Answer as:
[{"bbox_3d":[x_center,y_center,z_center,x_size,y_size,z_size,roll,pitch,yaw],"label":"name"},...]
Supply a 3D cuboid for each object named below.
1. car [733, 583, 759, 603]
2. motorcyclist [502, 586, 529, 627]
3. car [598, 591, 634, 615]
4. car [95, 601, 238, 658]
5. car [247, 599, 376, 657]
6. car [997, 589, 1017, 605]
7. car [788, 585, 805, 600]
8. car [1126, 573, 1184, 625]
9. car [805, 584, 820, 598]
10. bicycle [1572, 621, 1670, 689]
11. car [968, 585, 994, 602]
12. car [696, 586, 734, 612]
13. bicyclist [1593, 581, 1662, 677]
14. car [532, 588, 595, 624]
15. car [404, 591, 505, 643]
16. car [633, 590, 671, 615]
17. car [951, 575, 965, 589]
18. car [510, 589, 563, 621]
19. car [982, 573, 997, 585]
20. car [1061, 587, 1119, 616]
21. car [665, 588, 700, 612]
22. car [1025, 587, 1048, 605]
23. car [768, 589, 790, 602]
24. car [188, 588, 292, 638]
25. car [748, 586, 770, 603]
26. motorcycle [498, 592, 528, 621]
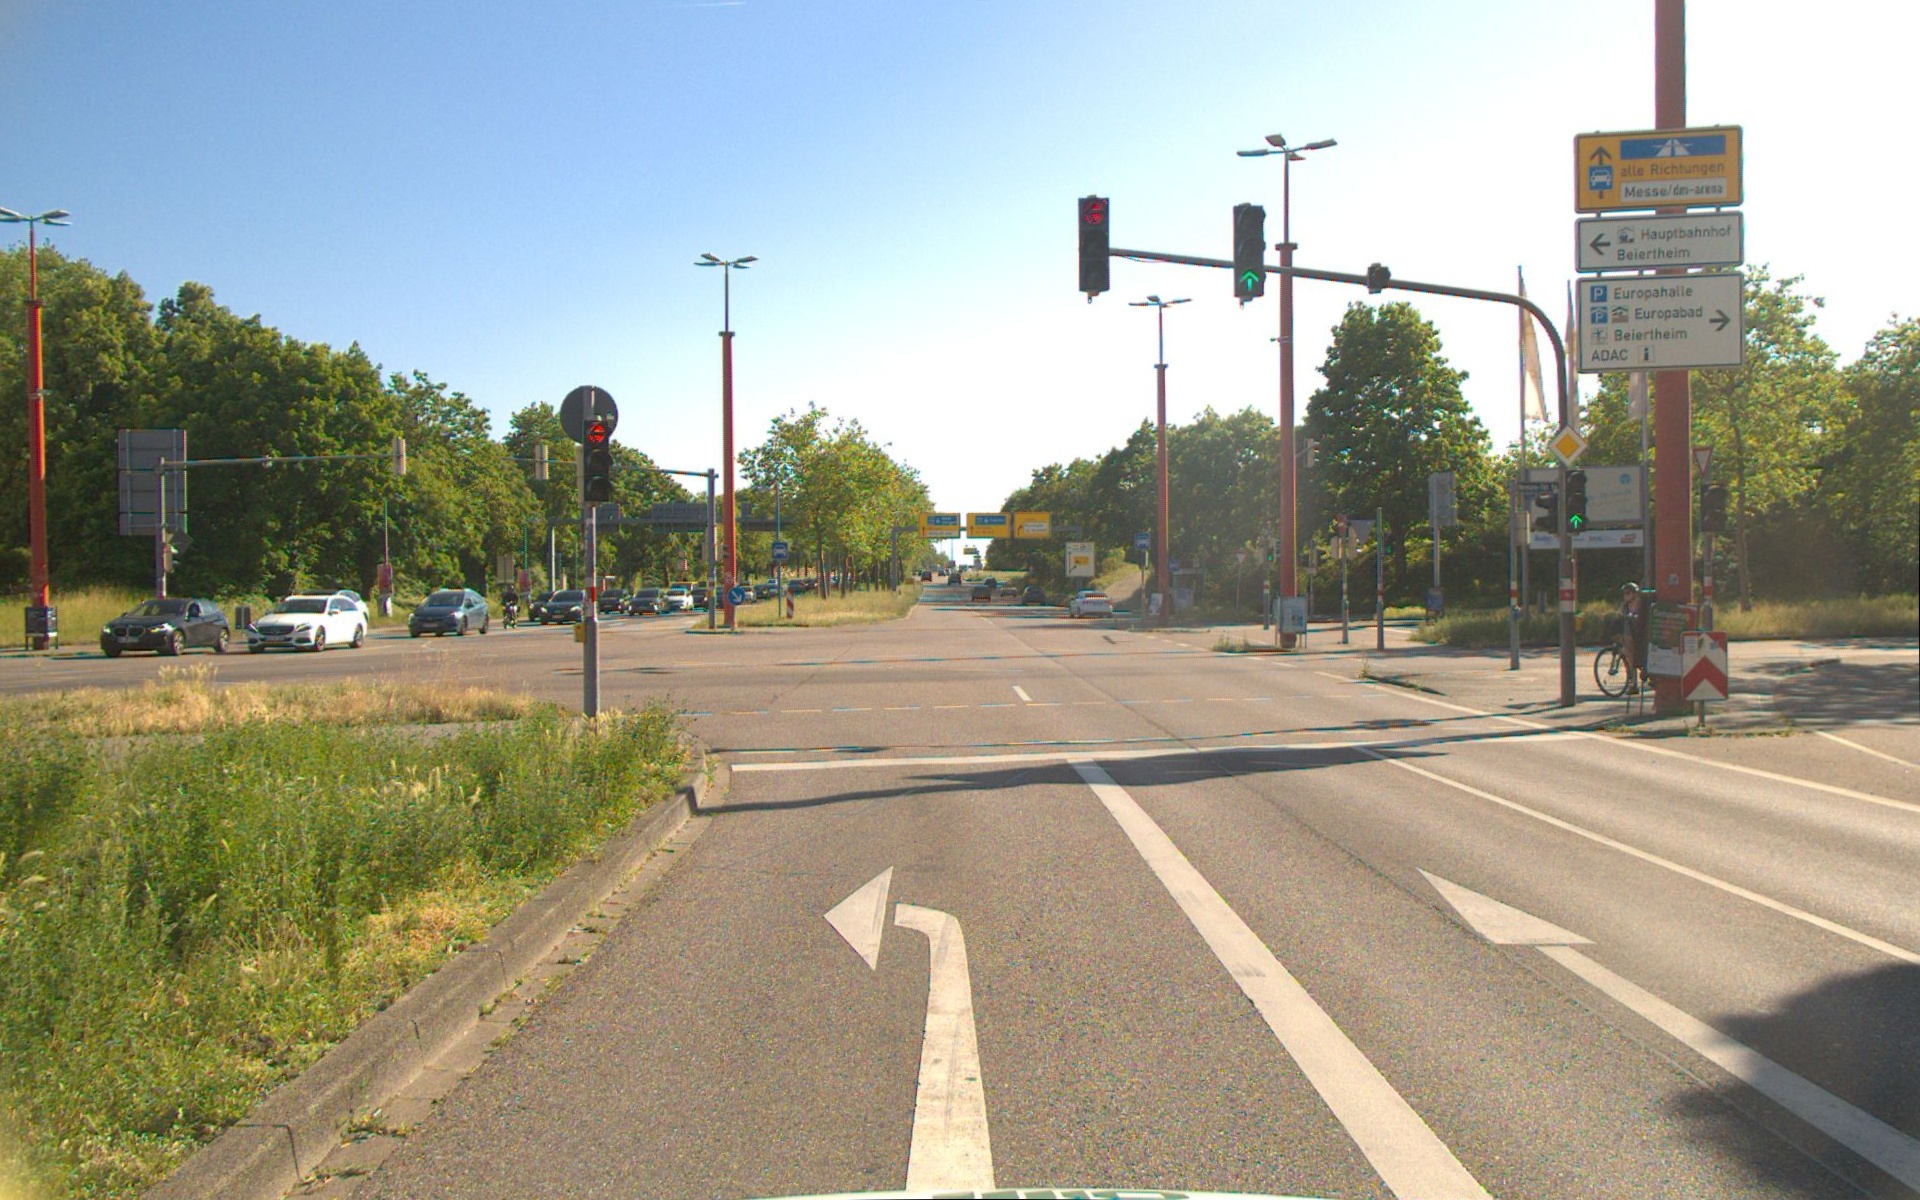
[{"bbox_3d":[-18.376,-0.591,142.378,1.669,1.624,4.000,1,0,0],"label":"car"},{"bbox_3d":[-17.664,0.259,65.733,0.817,1.627,0.641,0,0,6],"label":"motorcyclist"},{"bbox_3d":[-22.053,0.201,106.130,1.513,1.458,3.885,-2,0,-1],"label":"car"},{"bbox_3d":[-20.433,0.730,42.763,1.824,1.365,4.029,-1,0,-2],"label":"car"},{"bbox_3d":[-17.305,0.712,44.358,1.669,1.448,4.642,-1,0,-1],"label":"car"},{"bbox_3d":[4.951,-0.310,174.865,1.953,1.567,3.999,1,0,-1],"label":"car"},{"bbox_3d":[-19.175,-0.900,194.084,1.592,1.769,4.000,0,0,0],"label":"car"},{"bbox_3d":[7.634,-0.054,64.537,1.951,1.920,4.004,0,0,11],"label":"car"},{"bbox_3d":[-19.113,-1.123,214.339,1.623,1.778,4.000,1,0,0],"label":"car"},{"bbox_3d":[9.655,0.778,24.114,0.550,0.894,2.154,-1,1,44],"label":"bicycle"},{"bbox_3d":[1.917,-0.560,150.641,1.955,1.523,3.995,0,0,-6],"label":"car"},{"bbox_3d":[-15.004,-0.059,101.472,1.666,1.446,3.999,3,0,-1],"label":"car"},{"bbox_3d":[9.792,0.413,24.252,0.736,1.365,0.696,-1,0,-43],"label":"bicyclist"},{"bbox_3d":[-17.564,0.248,73.372,1.838,1.511,4.603,1,0,-2],"label":"car"},{"bbox_3d":[-16.975,0.538,55.769,1.952,1.622,4.464,-1,0,1],"label":"car"},{"bbox_3d":[-17.681,0.113,95.057,1.517,1.401,4.261,0,0,-1],"label":"car"},{"bbox_3d":[-0.305,-2.786,252.660,2.111,2.049,3.999,-1,1,-1],"label":"car"},{"bbox_3d":[-22.008,0.237,86.104,1.838,1.603,3.998,1,0,-2],"label":"car"},{"bbox_3d":[4.091,-2.859,226.765,1.952,1.567,4.001,0,0,2],"label":"car"},{"bbox_3d":[6.663,0.061,85.183,2.016,1.395,4.383,0,0,-9],"label":"car"},{"bbox_3d":[-17.703,0.014,105.563,1.572,1.485,3.950,0,0,0],"label":"car"},{"bbox_3d":[6.165,-0.323,133.133,1.702,1.365,3.081,0,0,-1],"label":"car"},{"bbox_3d":[-18.262,-0.486,167.005,1.964,1.330,3.997,0,0,-4],"label":"car"},{"bbox_3d":[-23.945,0.426,55.158,1.838,1.603,3.998,1,0,-2],"label":"car"},{"bbox_3d":[-18.843,-0.531,155.108,1.669,1.586,3.803,1,0,0],"label":"car"},{"bbox_3d":[-17.698,0.250,65.581,0.412,1.151,2.096,0,0,6],"label":"motorcycle"}]
